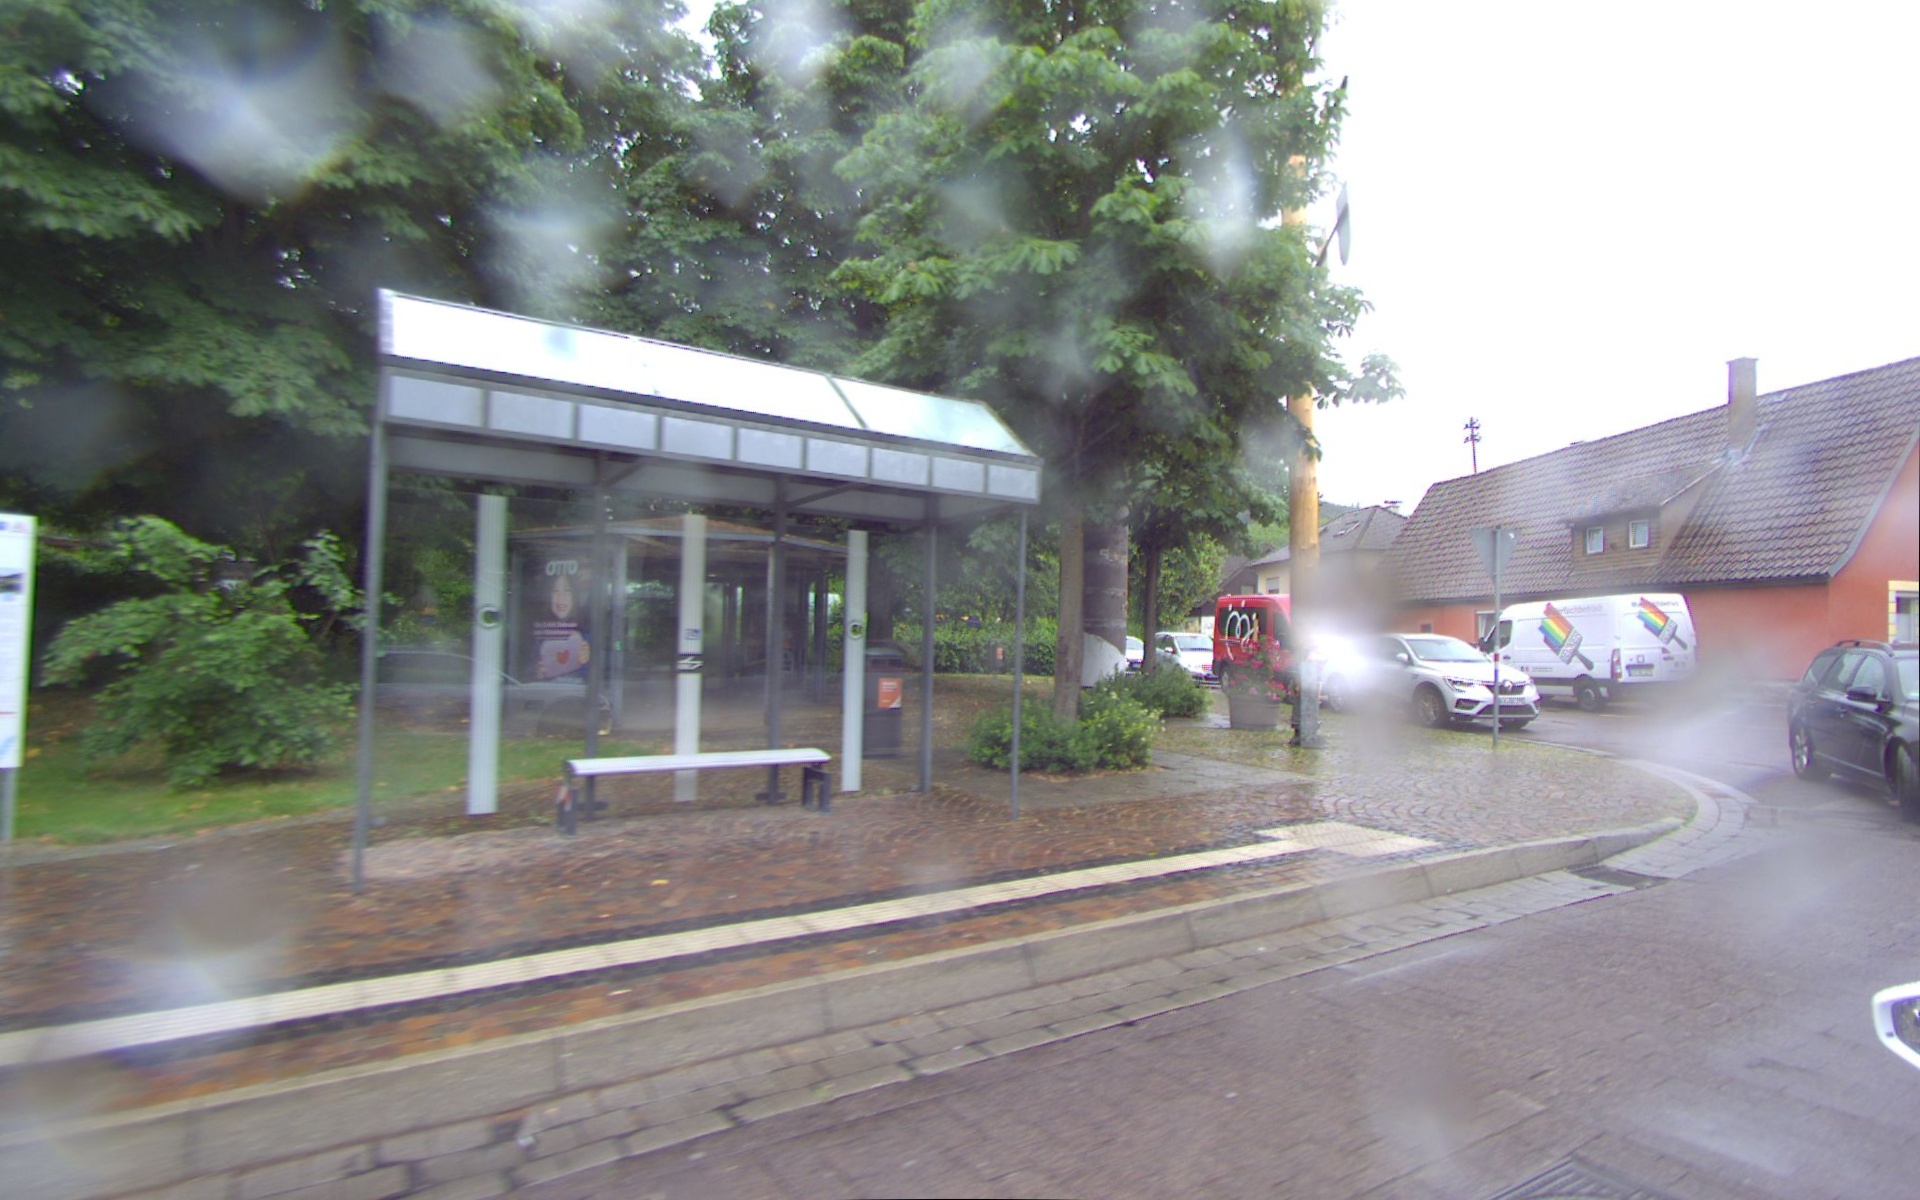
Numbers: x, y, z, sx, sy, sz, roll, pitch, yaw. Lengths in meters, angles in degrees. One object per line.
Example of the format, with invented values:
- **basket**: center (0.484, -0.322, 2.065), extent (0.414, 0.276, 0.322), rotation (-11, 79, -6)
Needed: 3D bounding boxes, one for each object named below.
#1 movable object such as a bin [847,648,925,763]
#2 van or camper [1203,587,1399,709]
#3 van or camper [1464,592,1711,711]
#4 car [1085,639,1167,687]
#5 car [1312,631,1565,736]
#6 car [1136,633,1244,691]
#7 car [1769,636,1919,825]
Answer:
- **movable object such as a bin**: center (-0.788, 1.105, 10.654), extent (0.598, 1.161, 0.558), rotation (4, -4, -34)
- **van or camper**: center (7.893, 1.108, 24.027), extent (2.115, 2.506, 5.873), rotation (2, -2, -6)
- **van or camper**: center (14.427, 1.177, 23.579), extent (2.169, 2.467, 5.156), rotation (0, -2, -6)
- **car**: center (5.818, 2.204, 35.565), extent (1.768, 1.570, 3.807), rotation (2, -3, -8)
- **car**: center (8.361, 1.389, 18.094), extent (1.849, 1.570, 4.452), rotation (1, -1, -11)
- **car**: center (6.735, 1.811, 29.860), extent (1.769, 1.570, 3.806), rotation (2, -3, -10)
- **car**: center (9.178, 1.076, 9.177), extent (1.815, 1.496, 4.310), rotation (-2, -3, 26)
